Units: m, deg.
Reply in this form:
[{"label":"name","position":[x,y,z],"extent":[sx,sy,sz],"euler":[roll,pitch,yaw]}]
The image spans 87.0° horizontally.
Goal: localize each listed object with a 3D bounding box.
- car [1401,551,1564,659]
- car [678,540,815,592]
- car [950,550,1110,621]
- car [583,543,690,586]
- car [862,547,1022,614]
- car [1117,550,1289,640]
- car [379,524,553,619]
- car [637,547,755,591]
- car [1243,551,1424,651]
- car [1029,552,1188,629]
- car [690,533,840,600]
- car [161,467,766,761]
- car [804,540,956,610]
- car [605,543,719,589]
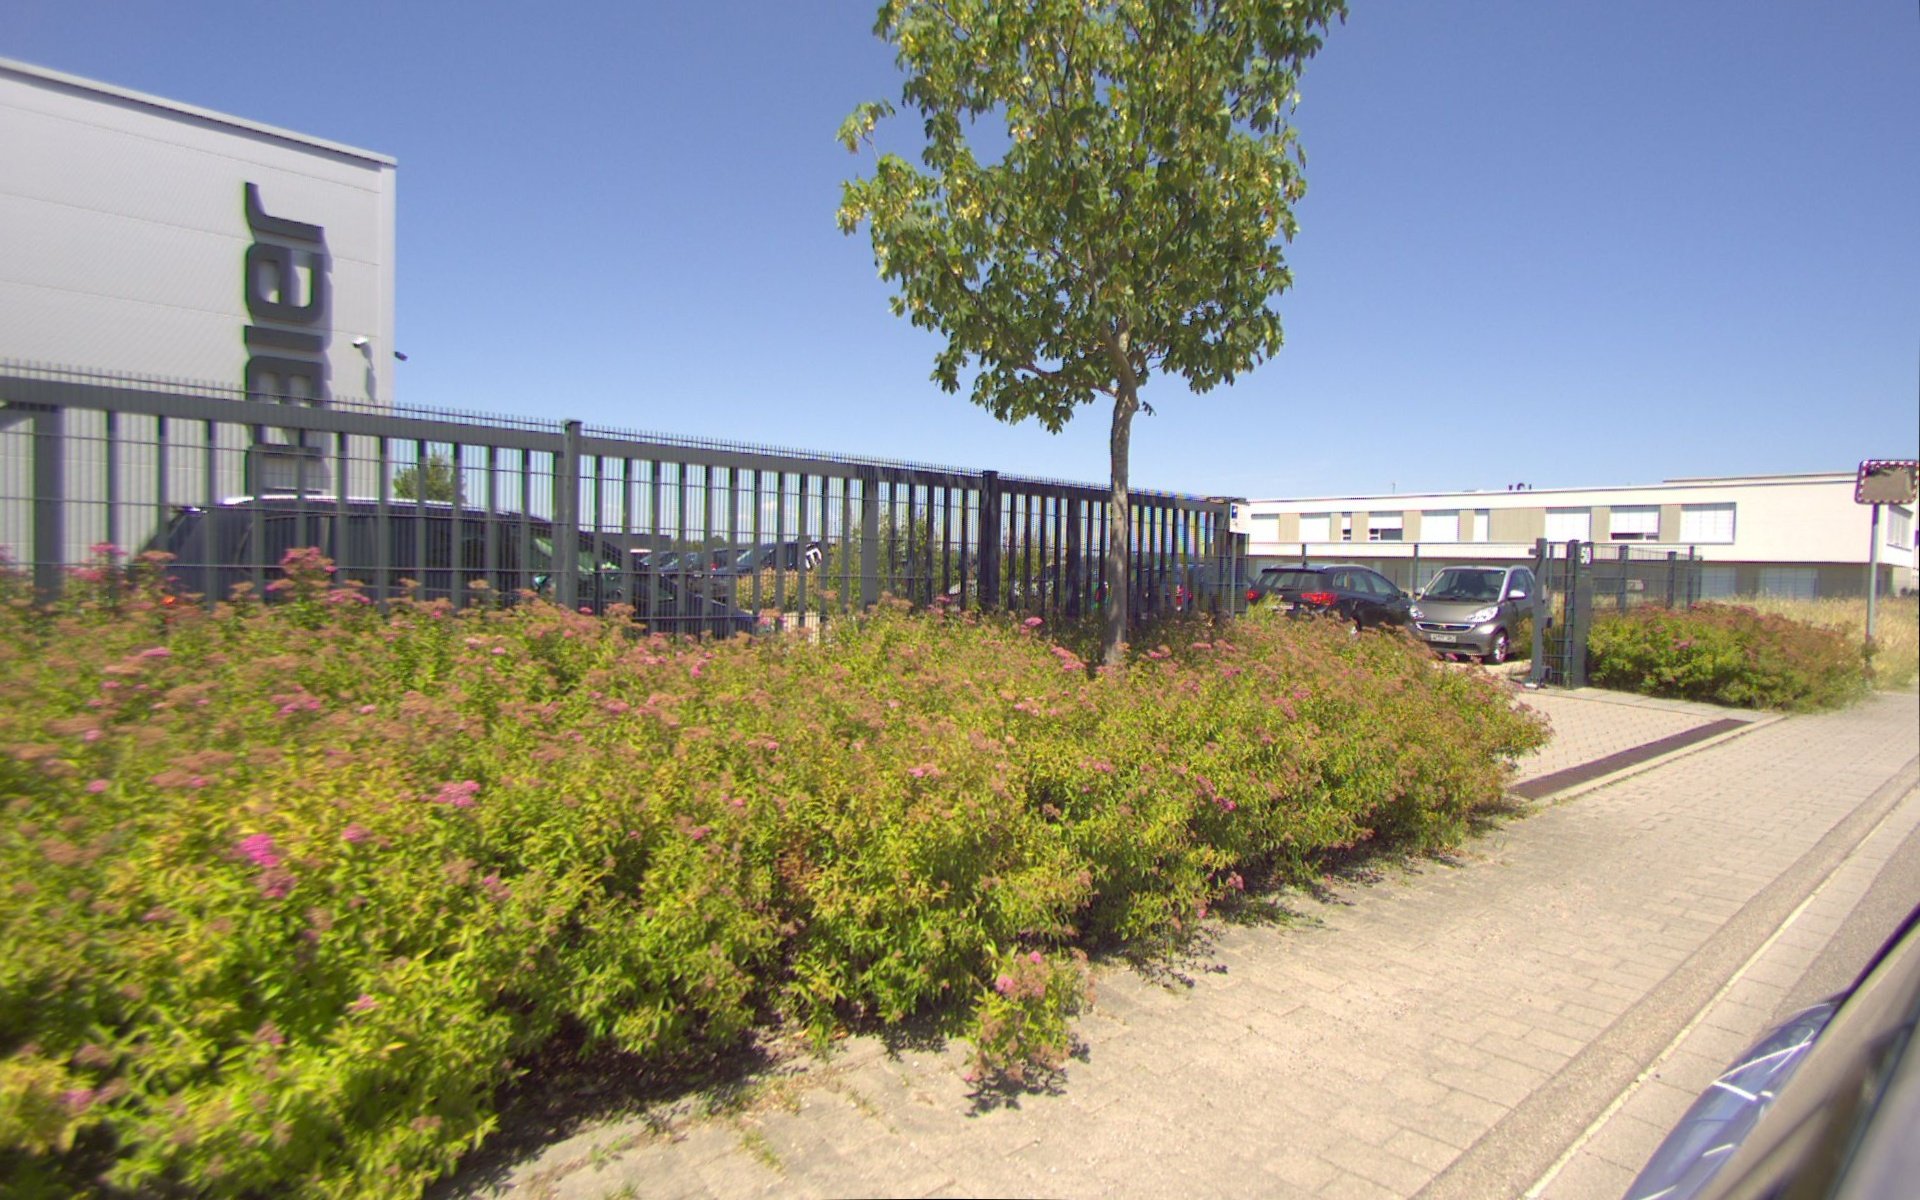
[{"label":"car","position":[8.545,0.022,16.512],"extent":[2.616,1.593,1.470],"euler":[-1,3,-41]},{"label":"car","position":[-6.931,-1.116,33.074],"extent":[4.056,1.592,1.751],"euler":[-1,4,-42]},{"label":"car","position":[1.586,-0.347,22.292],"extent":[3.480,1.414,1.517],"euler":[-1,4,-42]},{"label":"car","position":[-12.263,-1.357,38.507],"extent":[3.586,1.545,1.528],"euler":[-1,4,-42]},{"label":"car","position":[-0.376,-0.492,24.132],"extent":[3.720,1.448,1.517],"euler":[-1,4,-42]},{"label":"car","position":[4.589,-0.148,18.922],"extent":[3.275,1.514,1.517],"euler":[-1,4,-42]},{"label":"car","position":[-8.538,-0.534,17.322],"extent":[1.675,1.396,3.995],"euler":[2,2,-41]},{"label":"car","position":[-8.912,-1.061,34.270],"extent":[3.586,1.365,1.528],"euler":[-1,4,-42]},{"label":"car","position":[6.394,-0.040,17.192],"extent":[3.275,1.514,1.517],"euler":[-1,4,-42]},{"label":"car","position":[3.096,-0.240,20.819],"extent":[3.275,1.430,1.460],"euler":[-1,4,-42]},{"label":"car","position":[-5.759,-1.018,30.163],"extent":[4.056,1.869,1.751],"euler":[-1,4,-42]},{"label":"car","position":[-3.416,0.035,7.233],"extent":[3.514,1.571,1.813],"euler":[1,3,-41]},{"label":"car","position":[-2.002,-0.669,25.938],"extent":[3.720,1.653,1.517],"euler":[-1,4,-42]},{"label":"car","position":[-10.596,-1.217,36.110],"extent":[3.586,1.545,1.528],"euler":[-1,4,-42]}]
